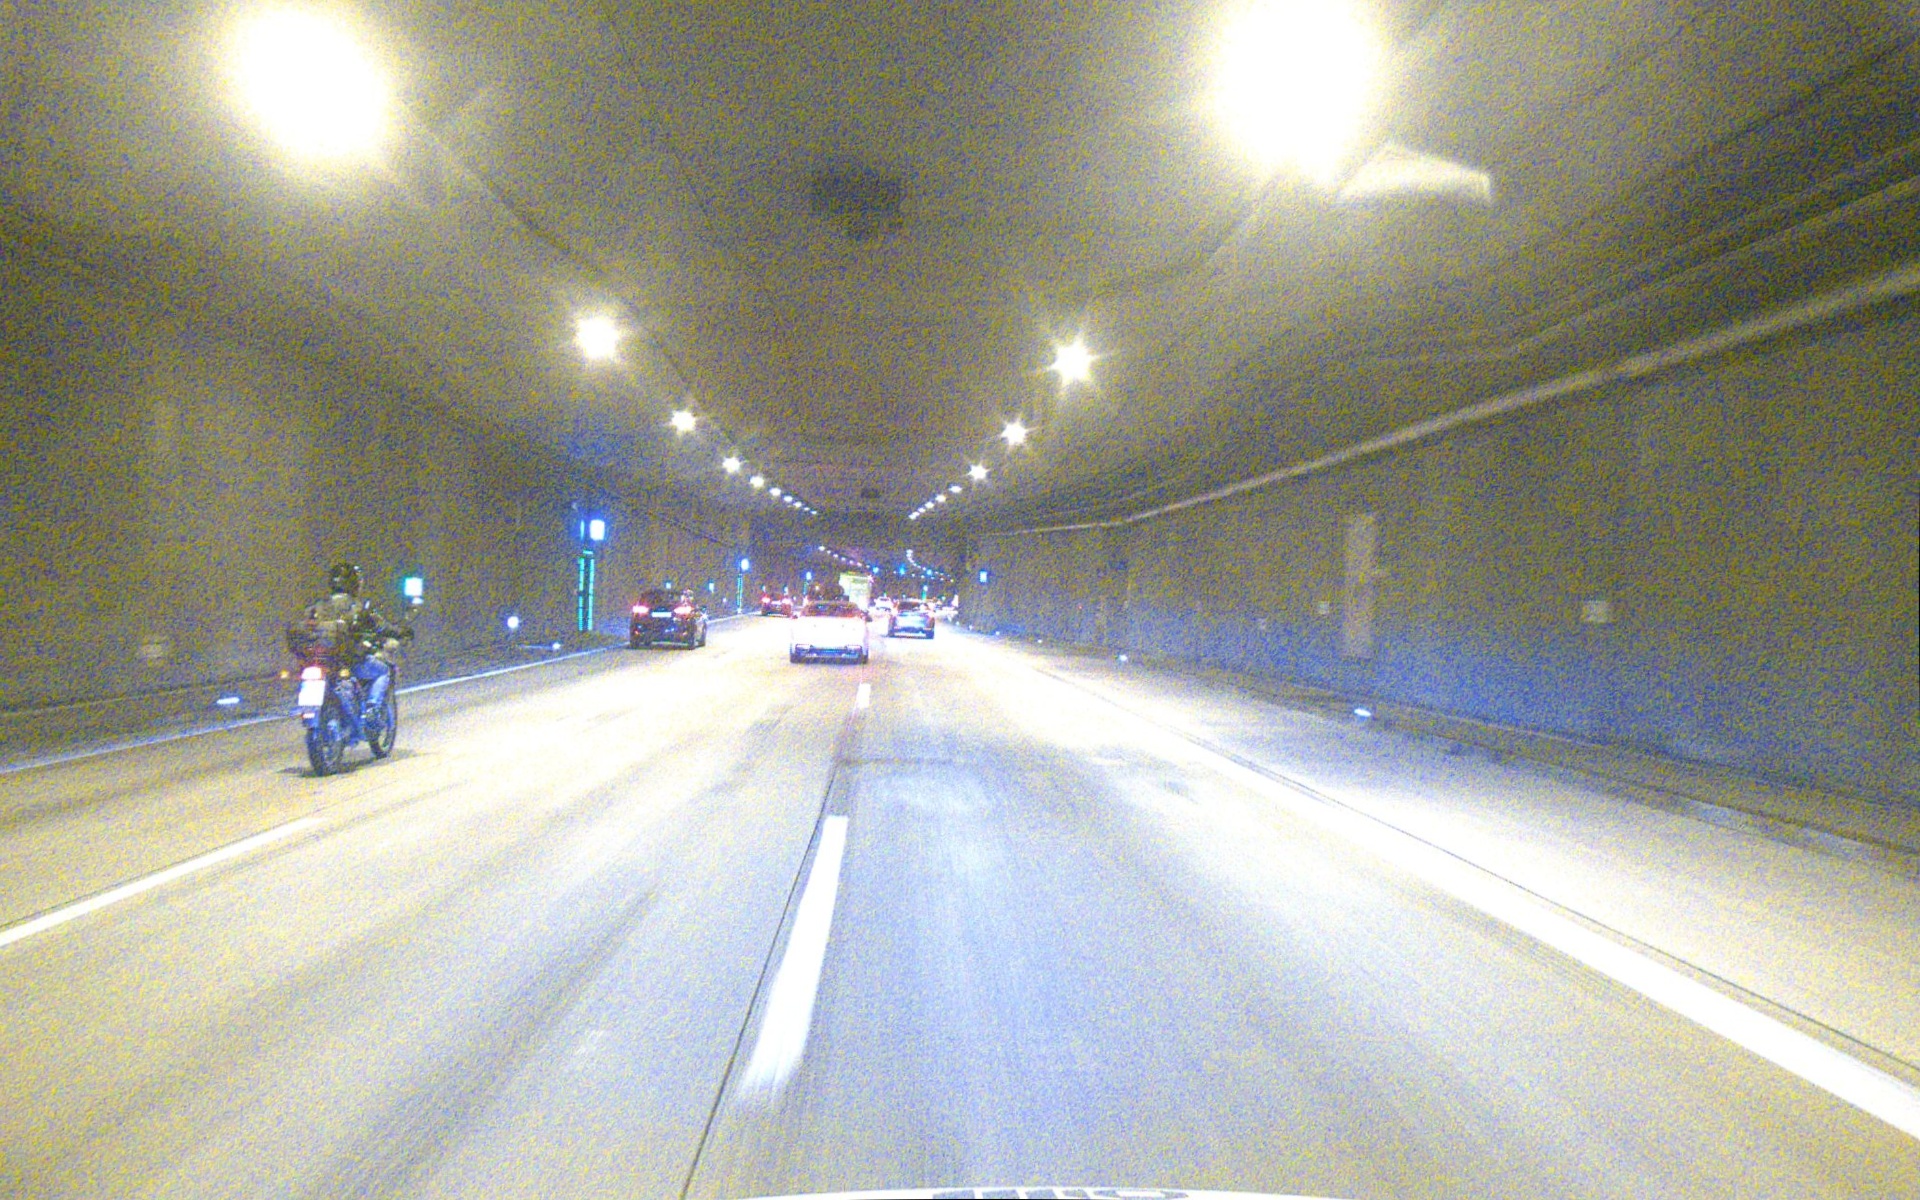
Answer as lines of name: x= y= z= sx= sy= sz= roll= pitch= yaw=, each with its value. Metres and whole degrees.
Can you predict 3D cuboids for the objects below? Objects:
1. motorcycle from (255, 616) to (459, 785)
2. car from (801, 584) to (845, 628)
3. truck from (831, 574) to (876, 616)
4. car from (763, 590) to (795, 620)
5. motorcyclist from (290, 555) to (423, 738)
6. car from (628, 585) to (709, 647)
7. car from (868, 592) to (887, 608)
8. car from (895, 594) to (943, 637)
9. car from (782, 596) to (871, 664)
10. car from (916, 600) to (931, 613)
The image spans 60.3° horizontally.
motorcycle: x=-5.086 y=0.794 z=14.176 sx=0.828 sy=1.267 sz=2.604 roll=0 pitch=0 yaw=-1
car: x=-6.388 y=0.304 z=77.530 sx=1.954 sy=2.006 sz=3.997 roll=0 pitch=0 yaw=-3
truck: x=-8.372 y=-0.445 z=131.001 sx=3.020 sy=3.167 sz=10.027 roll=1 pitch=1 yaw=-1
car: x=-10.603 y=0.296 z=97.075 sx=1.765 sy=1.713 sz=3.996 roll=0 pitch=0 yaw=-4
motorcyclist: x=-5.096 y=0.382 z=14.009 sx=0.822 sy=1.503 sz=0.821 roll=0 pitch=0 yaw=0
car: x=-7.938 y=0.422 z=45.282 sx=1.750 sy=1.626 sz=3.798 roll=0 pitch=0 yaw=-4
car: x=-9.349 y=0.001 z=187.905 sx=1.953 sy=1.785 sz=3.999 roll=1 pitch=-1 yaw=0
car: x=-1.616 y=0.599 z=64.950 sx=1.802 sy=1.630 sz=3.999 roll=0 pitch=0 yaw=-2
car: x=-3.062 y=0.663 z=38.566 sx=1.954 sy=1.509 sz=3.997 roll=0 pitch=0 yaw=-3
car: x=-4.796 y=0.785 z=214.111 sx=1.807 sy=1.578 sz=3.998 roll=2 pitch=0 yaw=-2
